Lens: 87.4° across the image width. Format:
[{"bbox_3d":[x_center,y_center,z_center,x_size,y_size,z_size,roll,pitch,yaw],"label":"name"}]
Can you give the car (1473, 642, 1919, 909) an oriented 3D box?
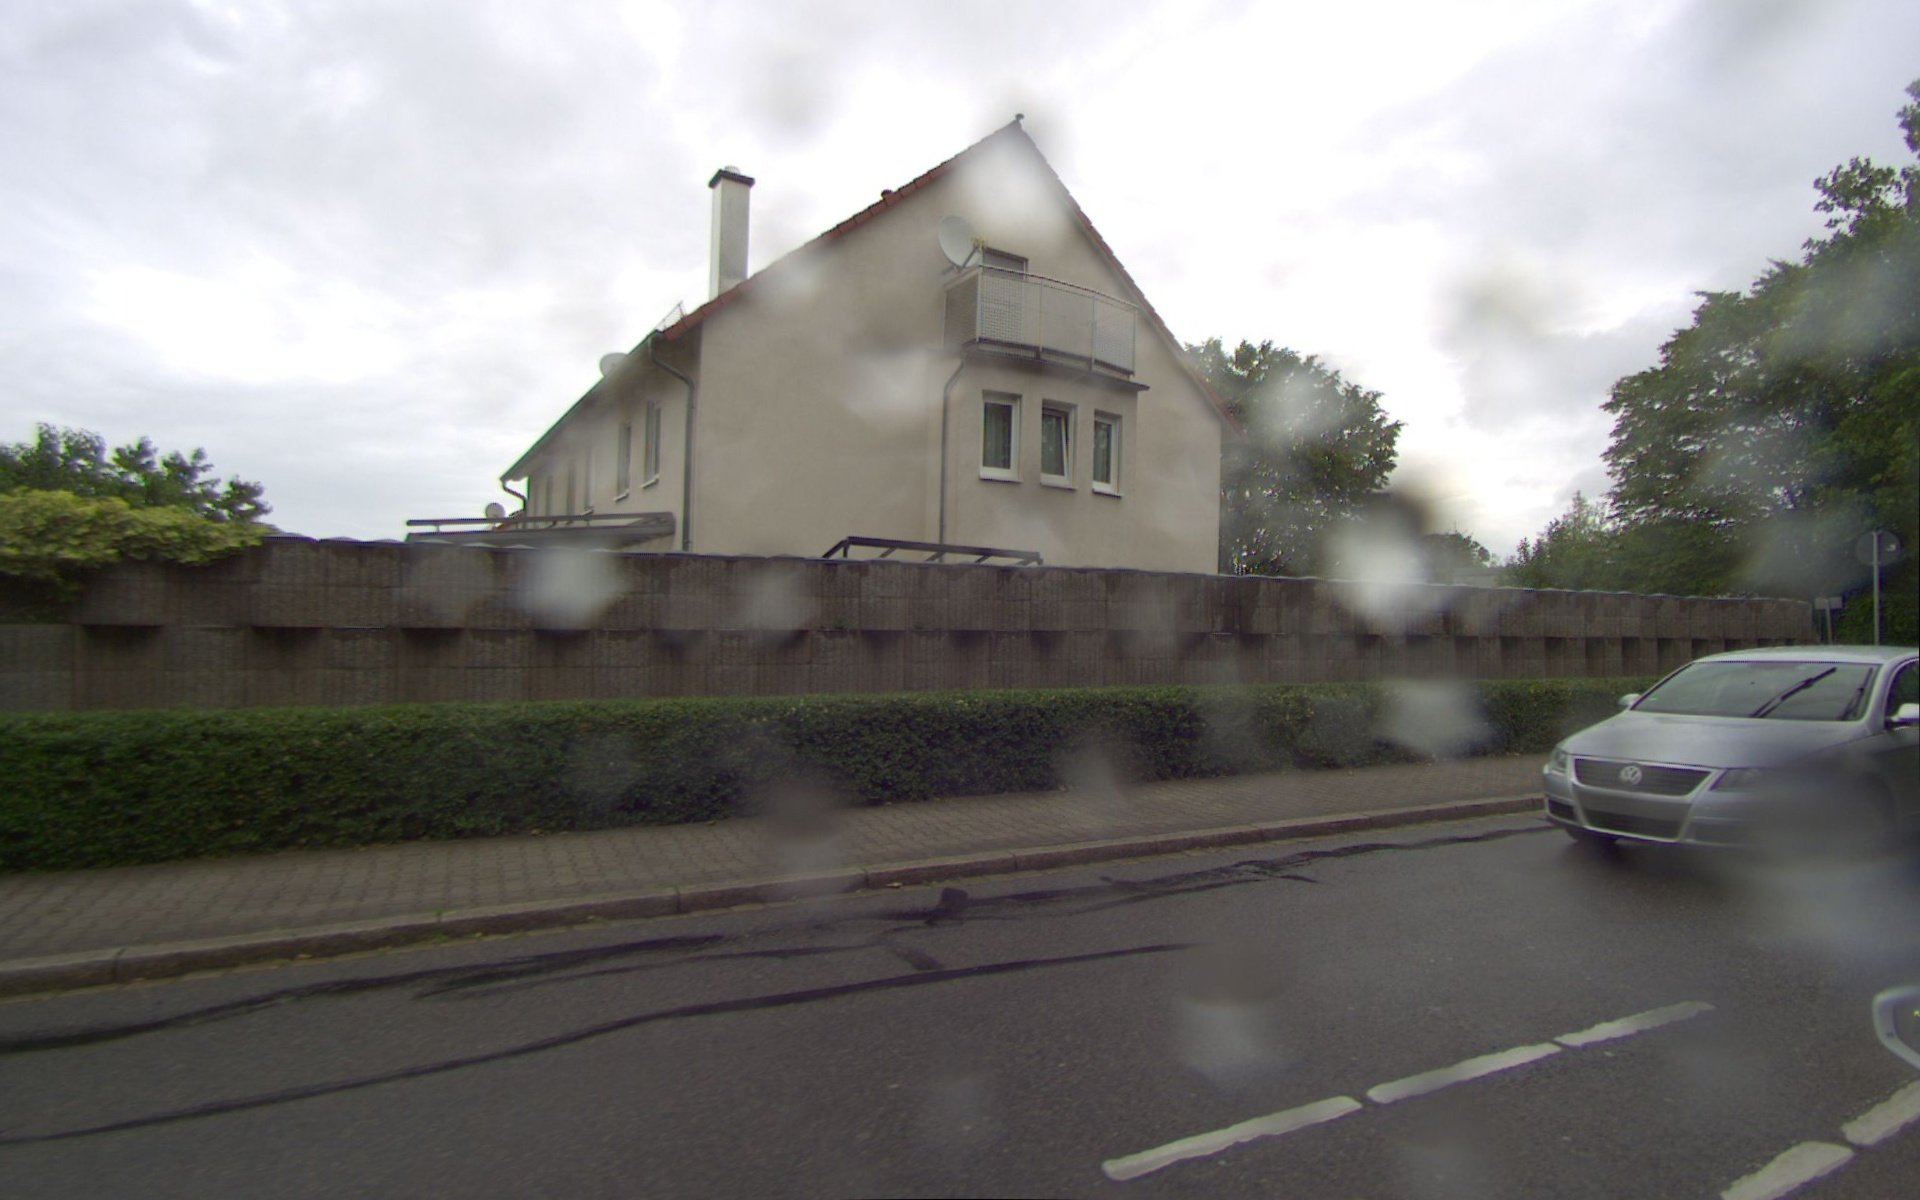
[{"bbox_3d":[6.109,1.045,7.417,4.431,1.438,1.986,1,-3,-29],"label":"car"}]
